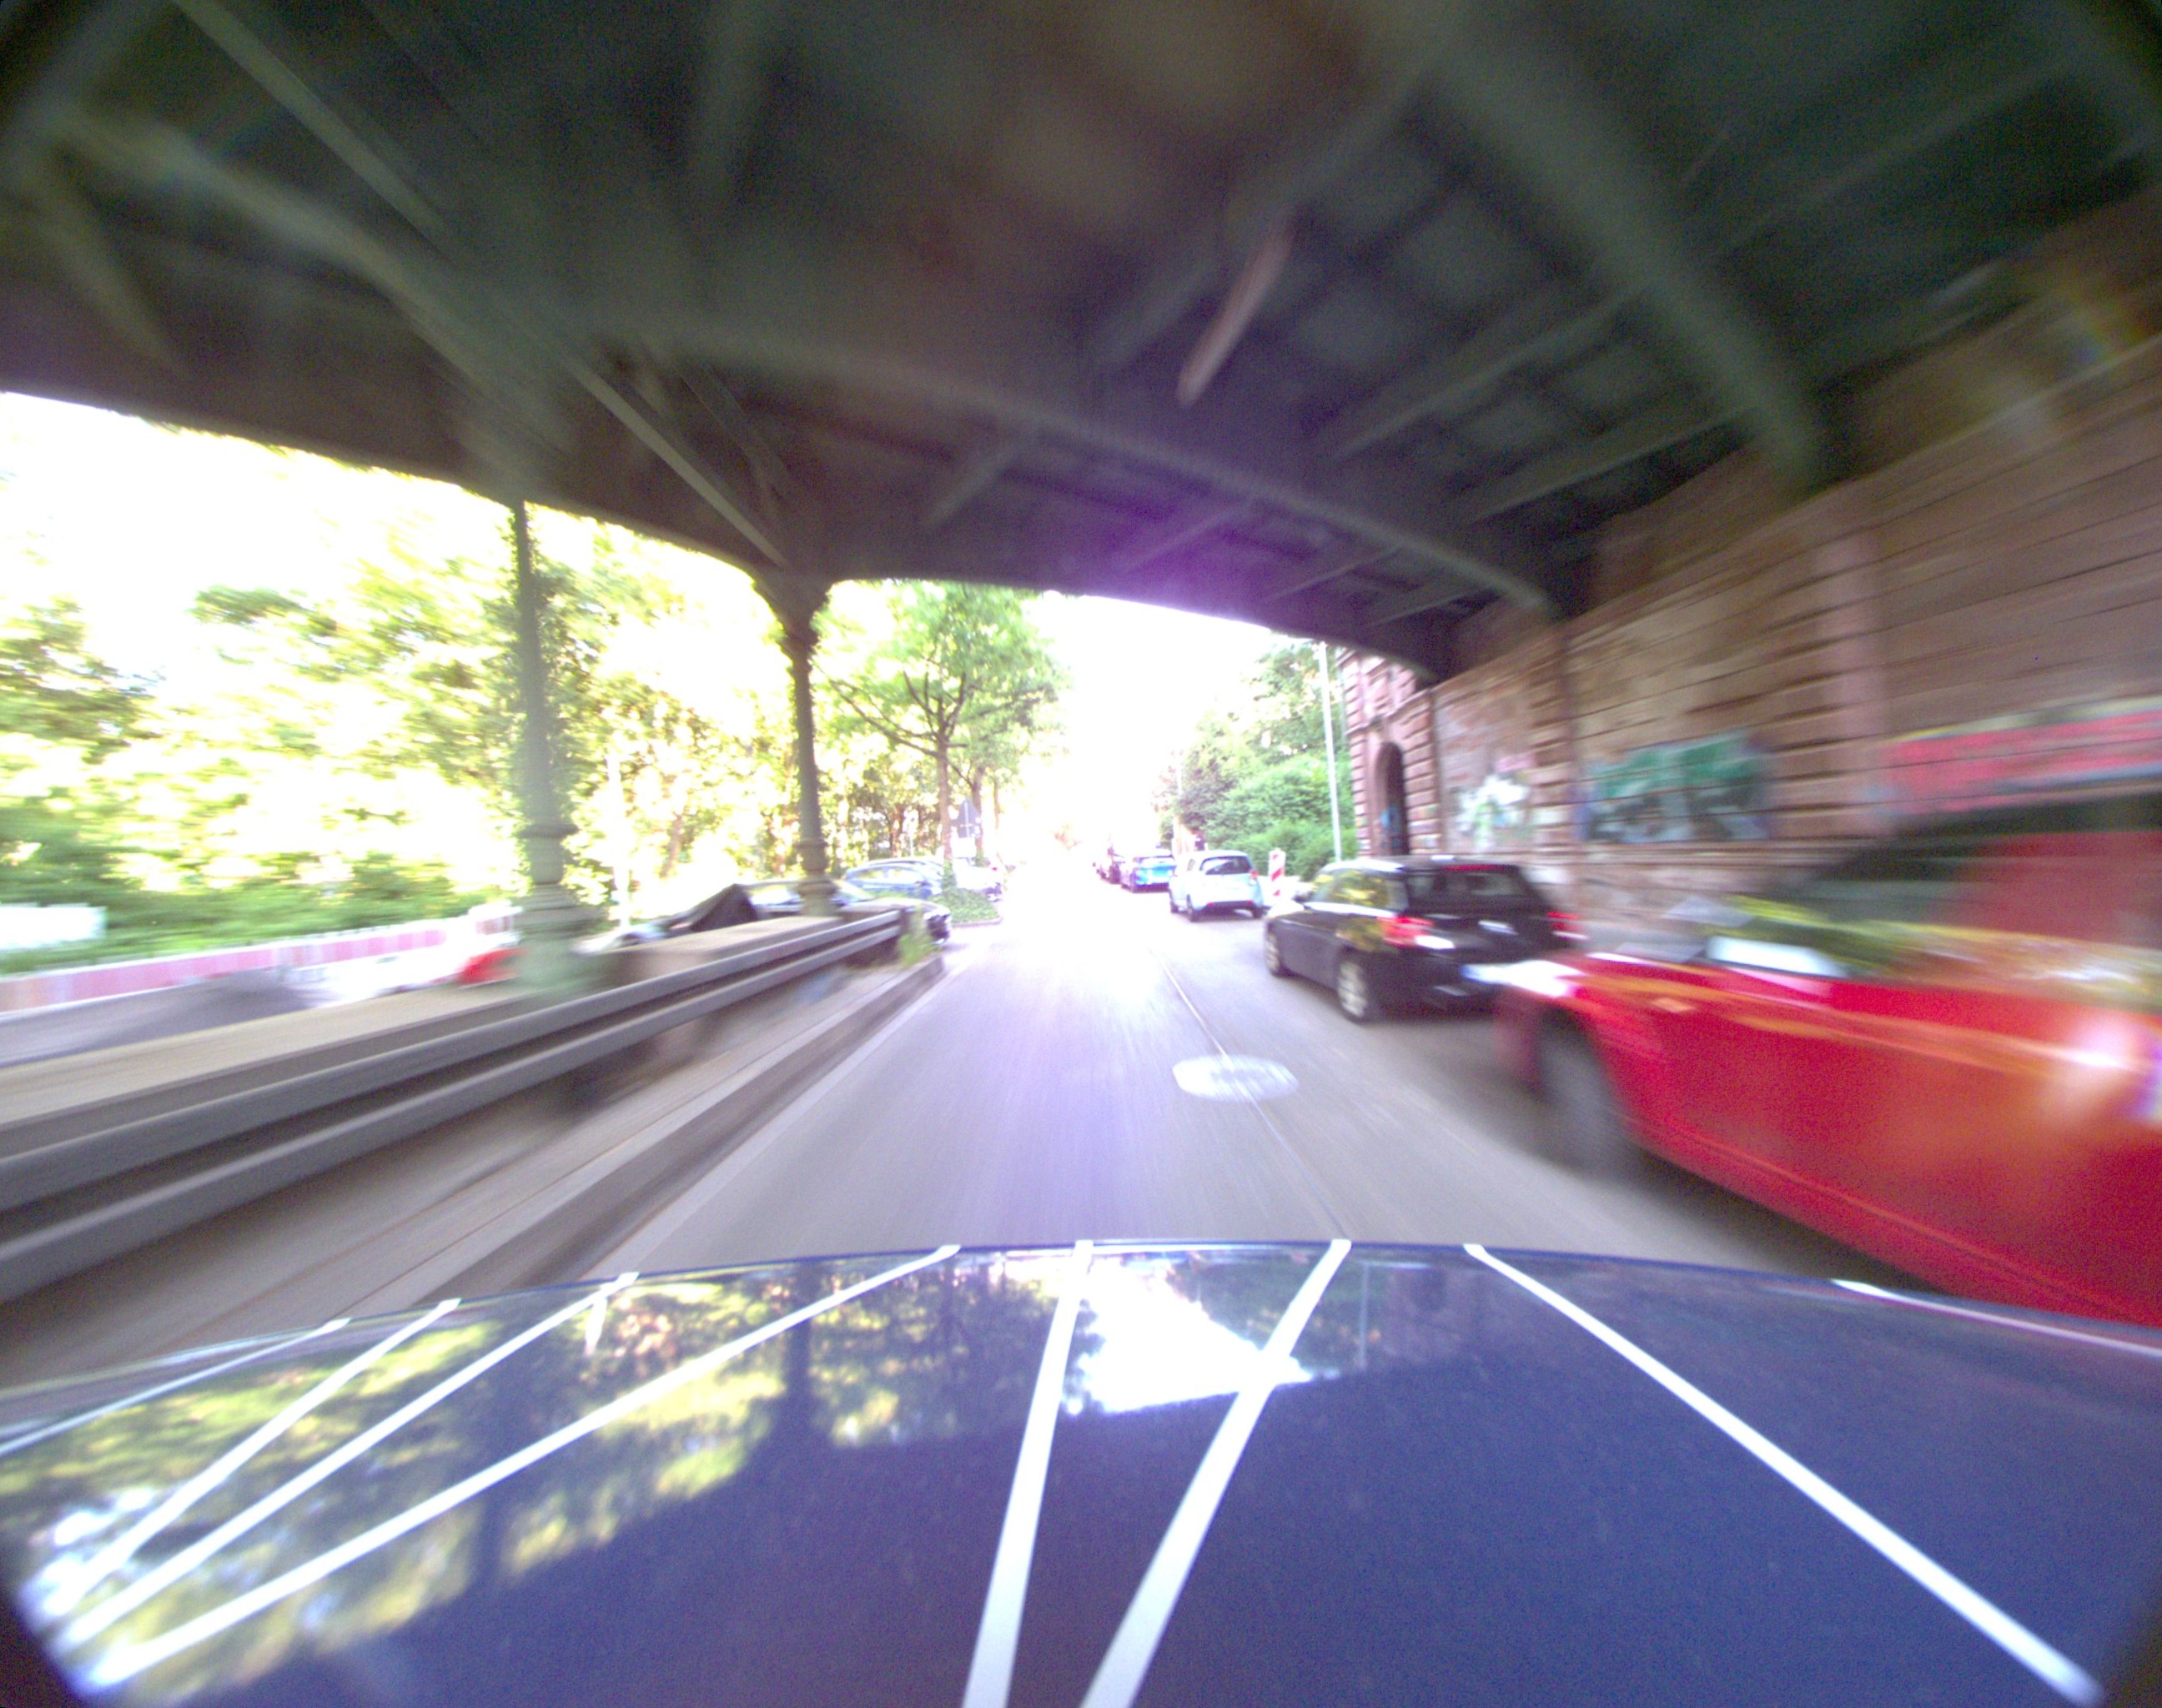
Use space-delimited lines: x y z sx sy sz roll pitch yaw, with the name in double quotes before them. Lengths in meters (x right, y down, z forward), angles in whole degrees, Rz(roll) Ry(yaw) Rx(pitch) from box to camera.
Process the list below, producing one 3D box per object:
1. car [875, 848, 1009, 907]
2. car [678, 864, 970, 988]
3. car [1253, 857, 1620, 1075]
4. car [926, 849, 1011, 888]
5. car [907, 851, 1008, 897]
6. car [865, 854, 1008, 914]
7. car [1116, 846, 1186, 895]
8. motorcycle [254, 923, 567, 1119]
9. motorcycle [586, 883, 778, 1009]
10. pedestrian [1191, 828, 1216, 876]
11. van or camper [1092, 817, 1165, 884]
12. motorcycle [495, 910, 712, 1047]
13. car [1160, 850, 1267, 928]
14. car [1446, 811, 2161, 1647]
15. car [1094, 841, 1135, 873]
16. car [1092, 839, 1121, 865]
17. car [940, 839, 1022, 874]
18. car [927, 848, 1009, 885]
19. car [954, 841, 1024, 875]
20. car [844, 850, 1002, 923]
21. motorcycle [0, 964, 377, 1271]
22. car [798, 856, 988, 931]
"car" -5.079 0.847 28.311 4.544 1.686 1.906 -5 2 -2
"car" -4.281 1.174 13.200 4.386 1.569 1.673 -5 2 -2
"car" 3.046 0.825 7.532 1.721 1.455 3.999 -3 1 0
"car" -5.639 0.694 38.372 3.998 1.565 1.586 -5 2 -2
"car" -5.325 0.829 33.109 4.031 1.565 1.586 -5 2 -2
"car" -4.801 0.983 25.757 4.386 1.524 1.875 -5 2 -2
"car" 2.470 0.545 27.866 1.749 1.458 4.372 -5 2 -4
"motorcycle" -5.269 1.254 6.155 1.728 1.126 0.711 -6 3 -35
"motorcycle" -4.930 1.085 9.542 1.938 1.231 0.903 -6 2 -25
"pedestrian" 5.138 -0.099 31.877 0.639 1.904 1.046 -5 2 -7
"van or camper" 1.980 -0.216 33.919 2.242 2.509 6.417 -5 2 -4
"motorcycle" -4.883 1.220 7.855 1.728 1.024 0.810 -6 3 -35
"car" 3.031 0.739 18.083 1.599 1.538 3.913 -3 1 -3
"car" 3.027 0.743 2.144 1.721 1.698 4.321 -3 1 -2
"car" 1.723 0.124 40.270 1.704 1.499 4.226 -2 2 -2
"car" 1.577 -0.164 48.146 1.703 1.489 4.548 -2 2 1
"car" -5.946 0.144 45.537 4.684 1.914 1.871 -2 2 -2
"car" -6.032 0.654 40.757 3.996 1.565 1.665 -5 2 2
"car" -5.775 0.252 48.134 3.996 1.748 1.798 -5 2 3
"car" -4.721 0.950 23.244 4.387 1.699 1.905 -5 2 -5
"motorcycle" -4.971 1.301 3.808 1.839 1.126 0.849 -6 2 -24
"car" -4.992 1.032 20.576 4.597 1.597 1.734 -4 2 3
